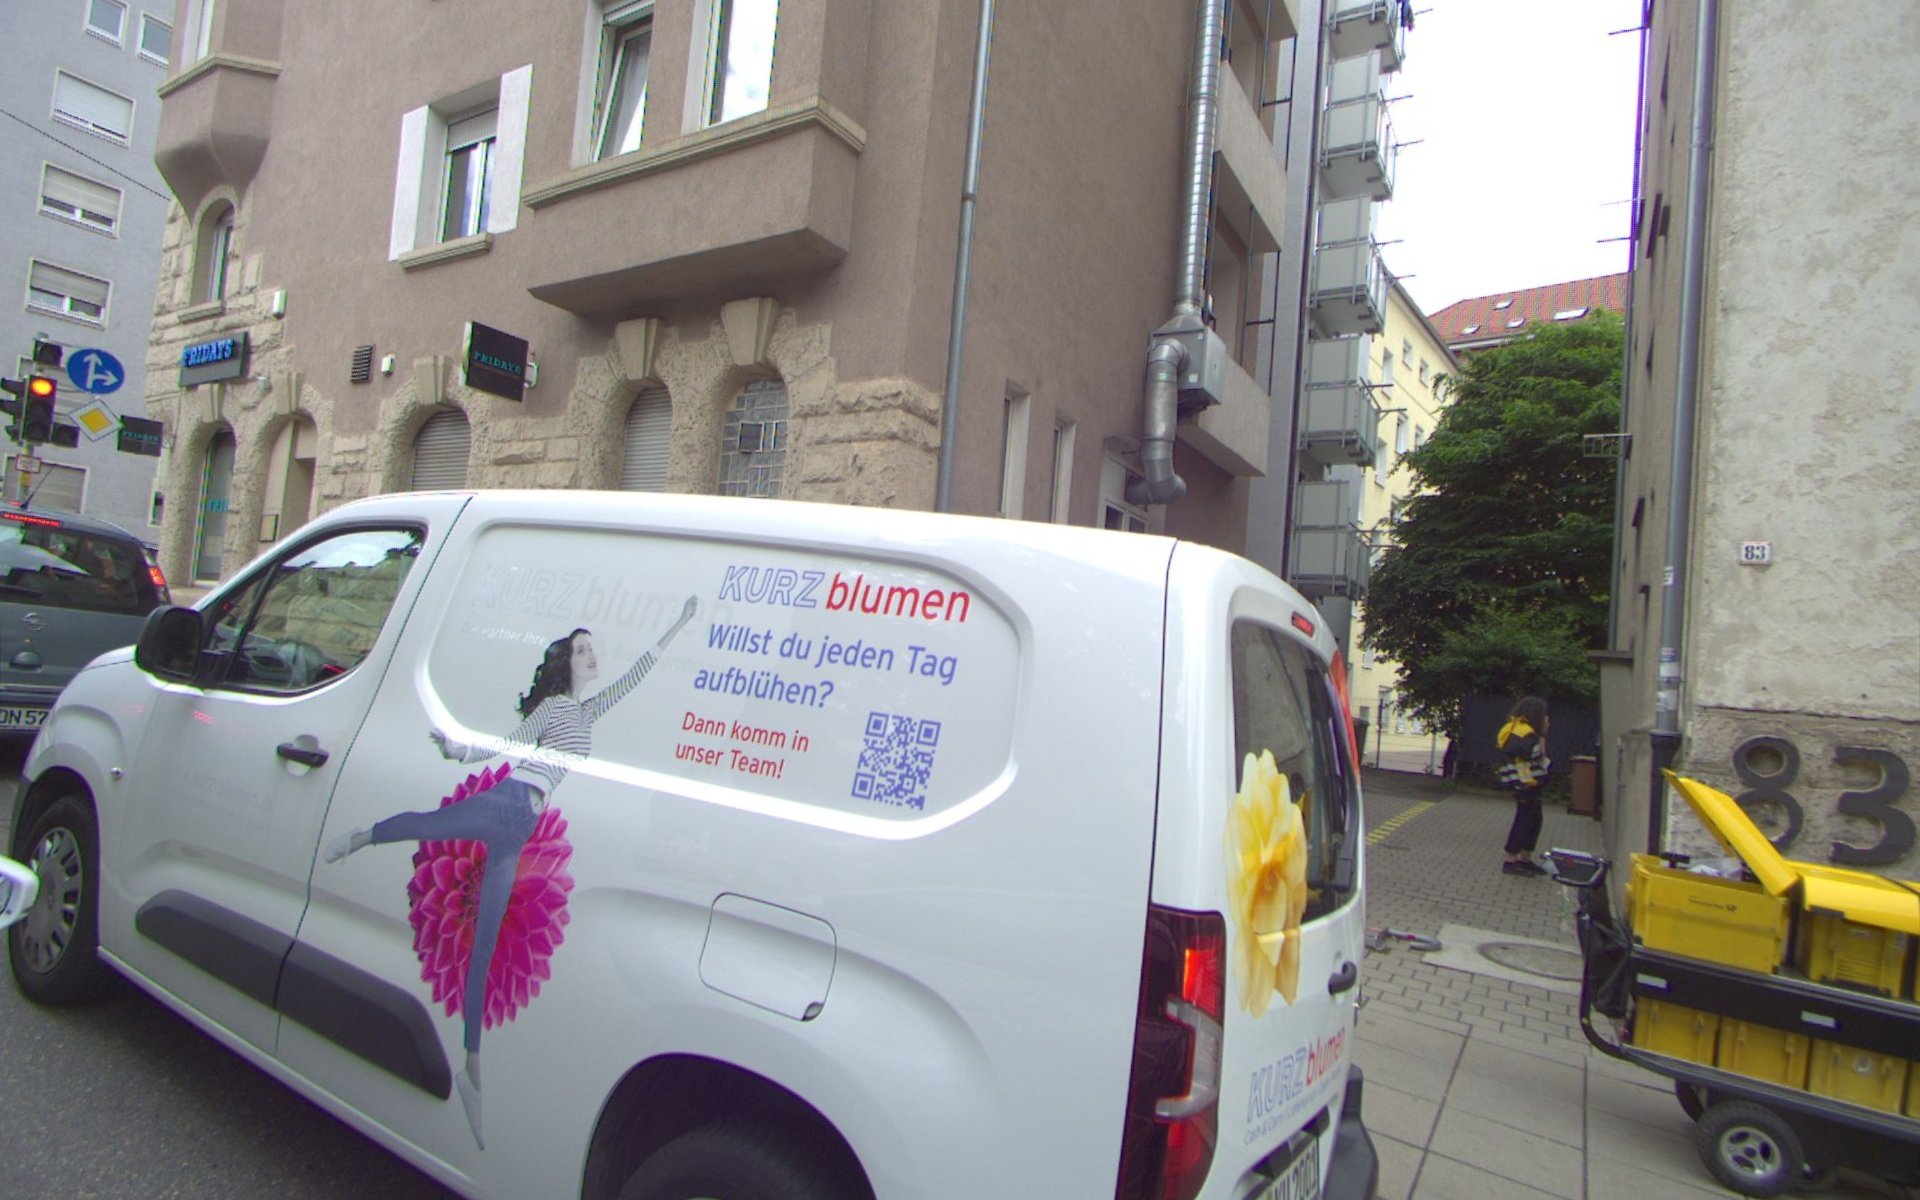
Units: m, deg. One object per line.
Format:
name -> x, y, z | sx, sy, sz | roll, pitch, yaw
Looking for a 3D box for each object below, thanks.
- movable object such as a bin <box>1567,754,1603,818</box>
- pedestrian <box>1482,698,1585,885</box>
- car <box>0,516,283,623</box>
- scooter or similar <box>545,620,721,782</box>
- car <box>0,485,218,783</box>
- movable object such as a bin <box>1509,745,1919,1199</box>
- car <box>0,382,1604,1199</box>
movable object such as a bin -> 9.926, 2.942, 15.983 | 0.405, 0.922, 0.340 | 6, -1, 32
pedestrian -> 5.551, 1.809, 9.774 | 0.770, 1.665, 0.811 | 1, -3, 24
car -> -16.845, -0.550, 20.897 | 1.637, 1.537, 4.252 | 6, -3, 26
scooter or similar -> -2.723, 0.808, 8.327 | 1.400, 1.117, 0.527 | 6, -1, 34
car -> -6.716, 0.046, 6.532 | 3.608, 1.614, 1.634 | 6, -5, 32
movable object such as a bin -> 3.370, 1.455, 3.973 | 1.979, 1.391, 1.223 | 6, 0, 30
car -> -0.908, 0.578, 3.098 | 4.597, 1.793, 1.983 | 6, -5, 30
